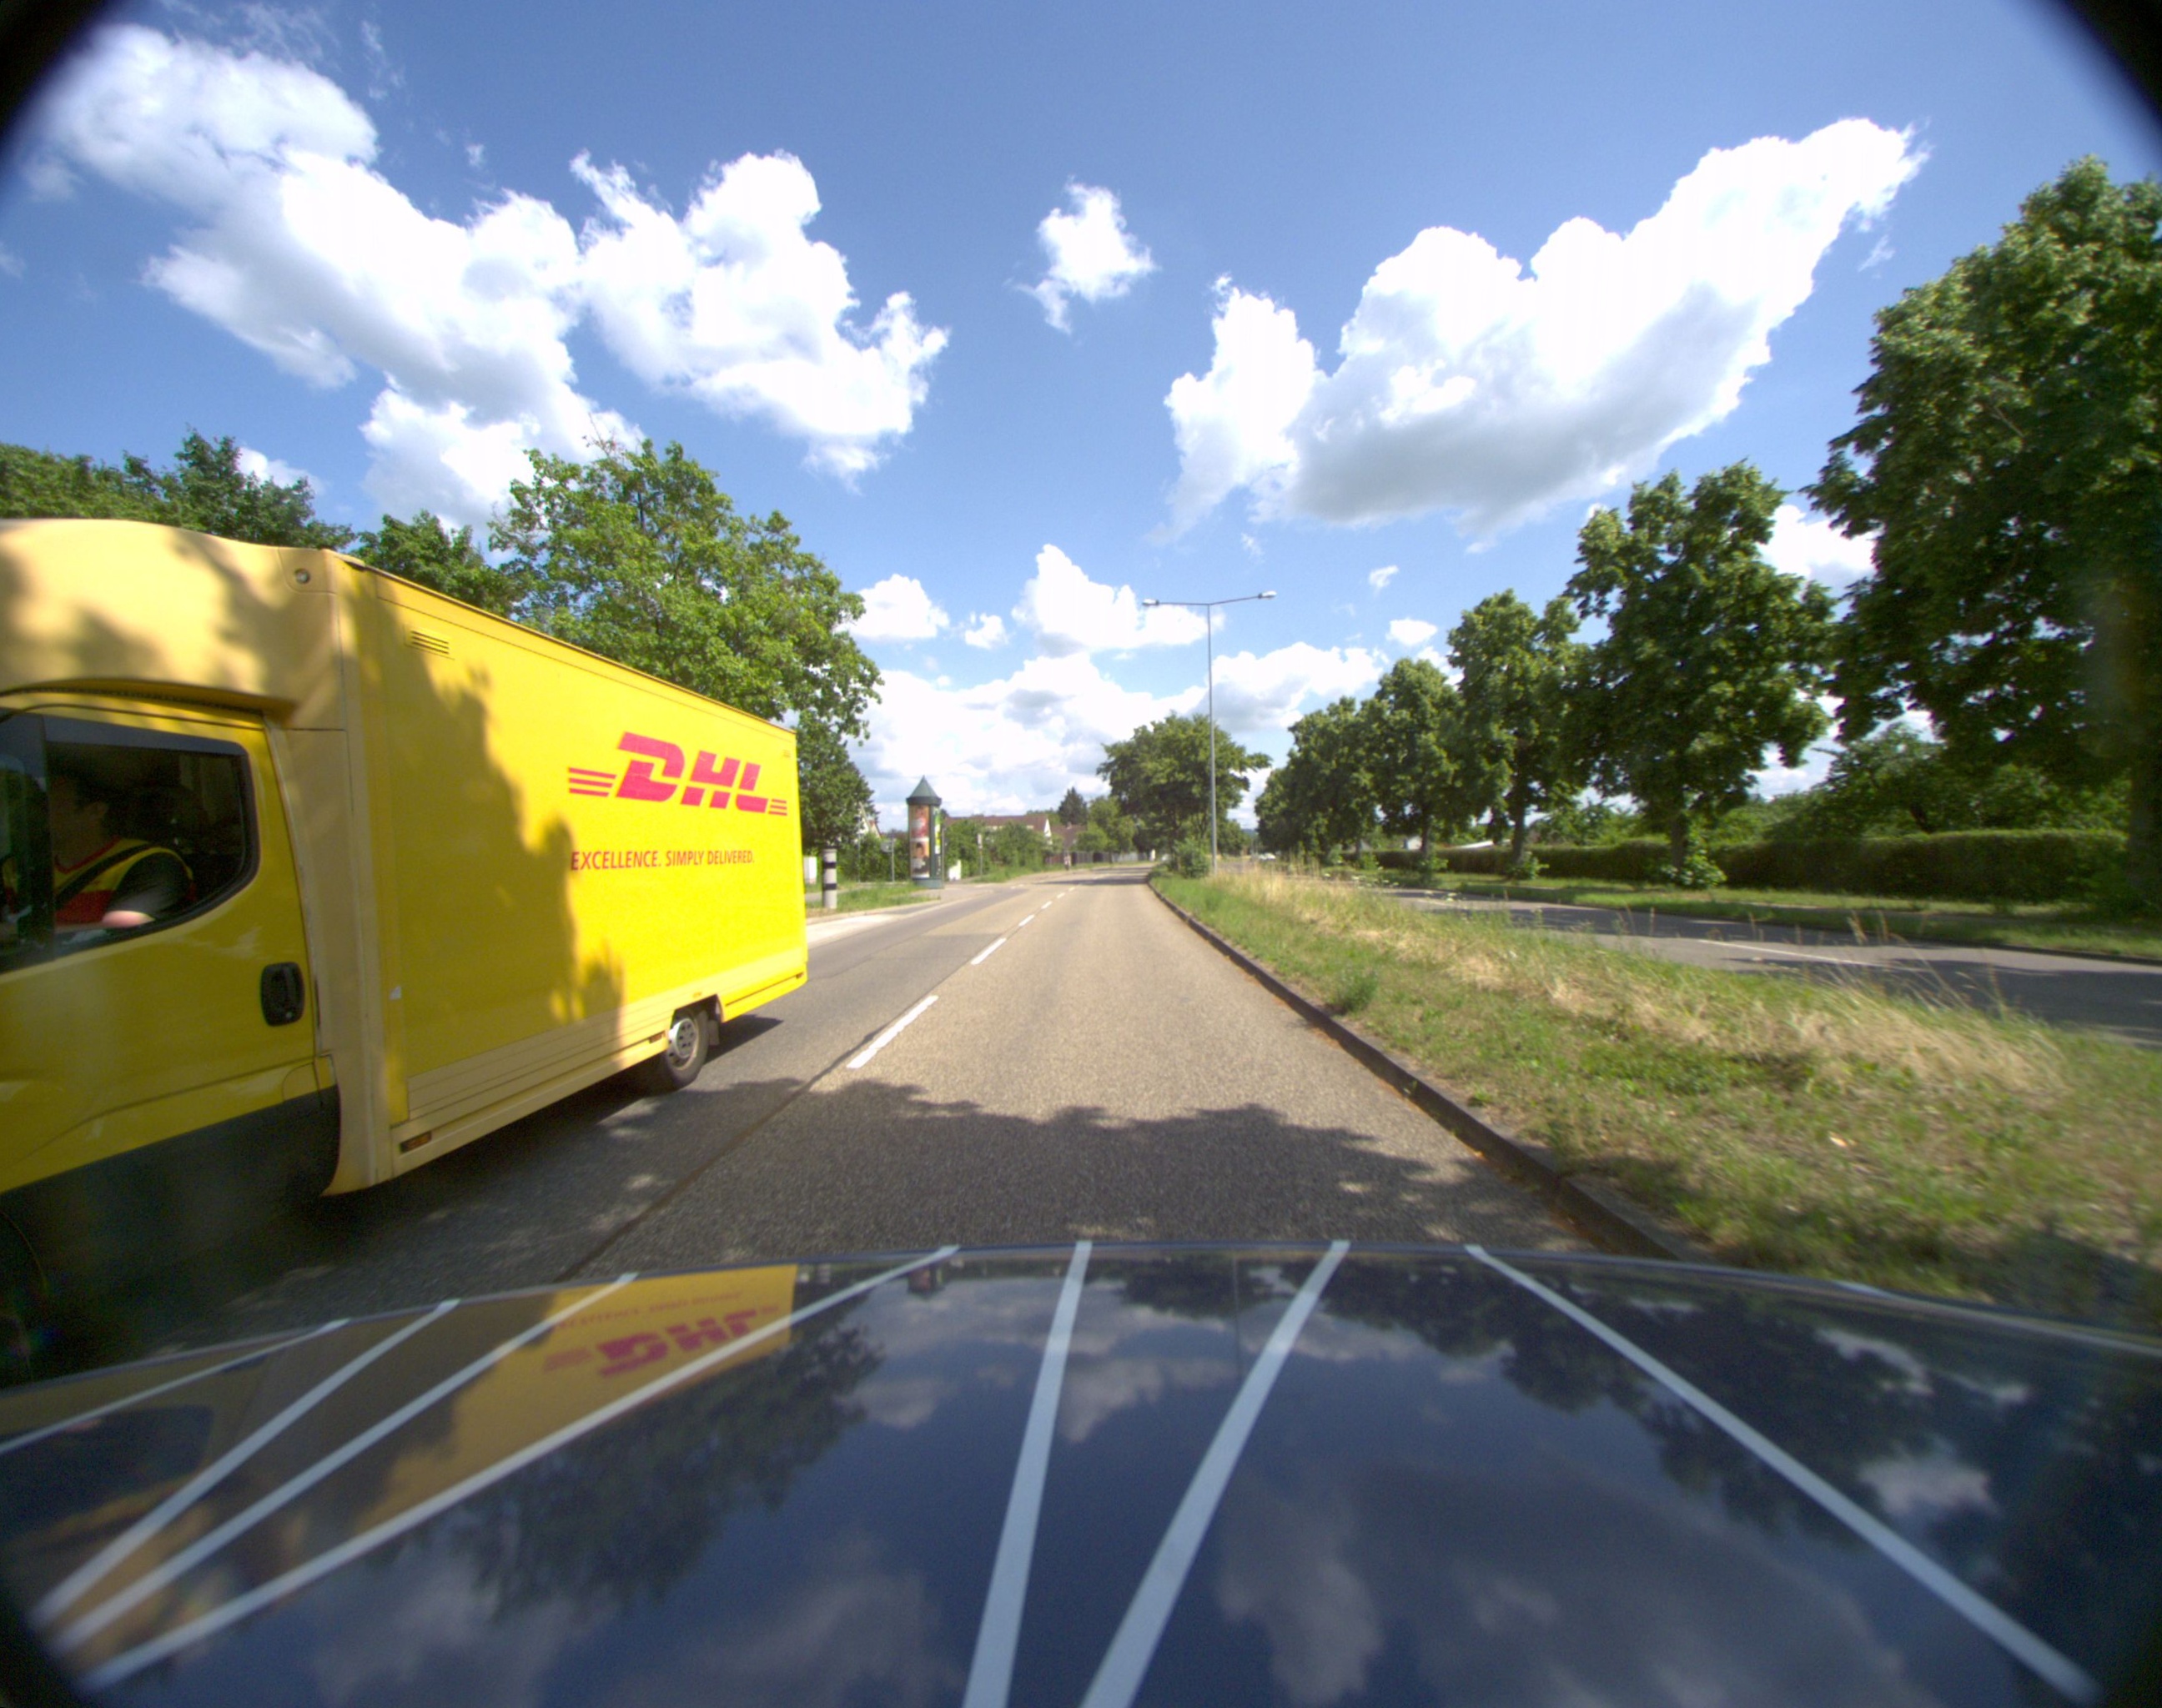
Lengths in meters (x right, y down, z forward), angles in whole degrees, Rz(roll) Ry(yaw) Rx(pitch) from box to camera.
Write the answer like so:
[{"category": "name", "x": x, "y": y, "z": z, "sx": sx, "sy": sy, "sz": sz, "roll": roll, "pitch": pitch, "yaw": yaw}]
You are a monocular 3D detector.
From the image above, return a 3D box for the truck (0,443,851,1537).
[{"category": "truck", "x": -3.887, "y": 0.375, "z": 4.466, "sx": 2.270, "sy": 2.863, "sz": 8.029, "roll": -2, "pitch": 0, "yaw": 2}]

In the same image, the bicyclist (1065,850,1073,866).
[{"category": "bicyclist", "x": -1.250, "y": 0.433, "z": 79.522, "sx": 0.620, "sy": 1.625, "sz": 0.700, "roll": -1, "pitch": 1, "yaw": 8}]

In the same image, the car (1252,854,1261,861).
[{"category": "car", "x": 39.627, "y": 0.755, "z": 171.398, "sx": 1.739, "sy": 1.577, "sz": 4.117, "roll": 1, "pitch": 0, "yaw": 15}]

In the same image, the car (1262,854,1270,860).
[{"category": "car", "x": 49.065, "y": 0.667, "z": 201.743, "sx": 1.738, "sy": 1.577, "sz": 4.117, "roll": 1, "pitch": 0, "yaw": 17}]

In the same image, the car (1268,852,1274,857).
[{"category": "car", "x": 60.601, "y": 0.092, "z": 242.604, "sx": 1.738, "sy": 1.577, "sz": 4.117, "roll": 1, "pitch": 0, "yaw": 17}]

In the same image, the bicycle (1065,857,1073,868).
[{"category": "bicycle", "x": -1.250, "y": 0.862, "z": 79.479, "sx": 0.626, "sy": 1.145, "sz": 1.740, "roll": -1, "pitch": 0, "yaw": 8}]
